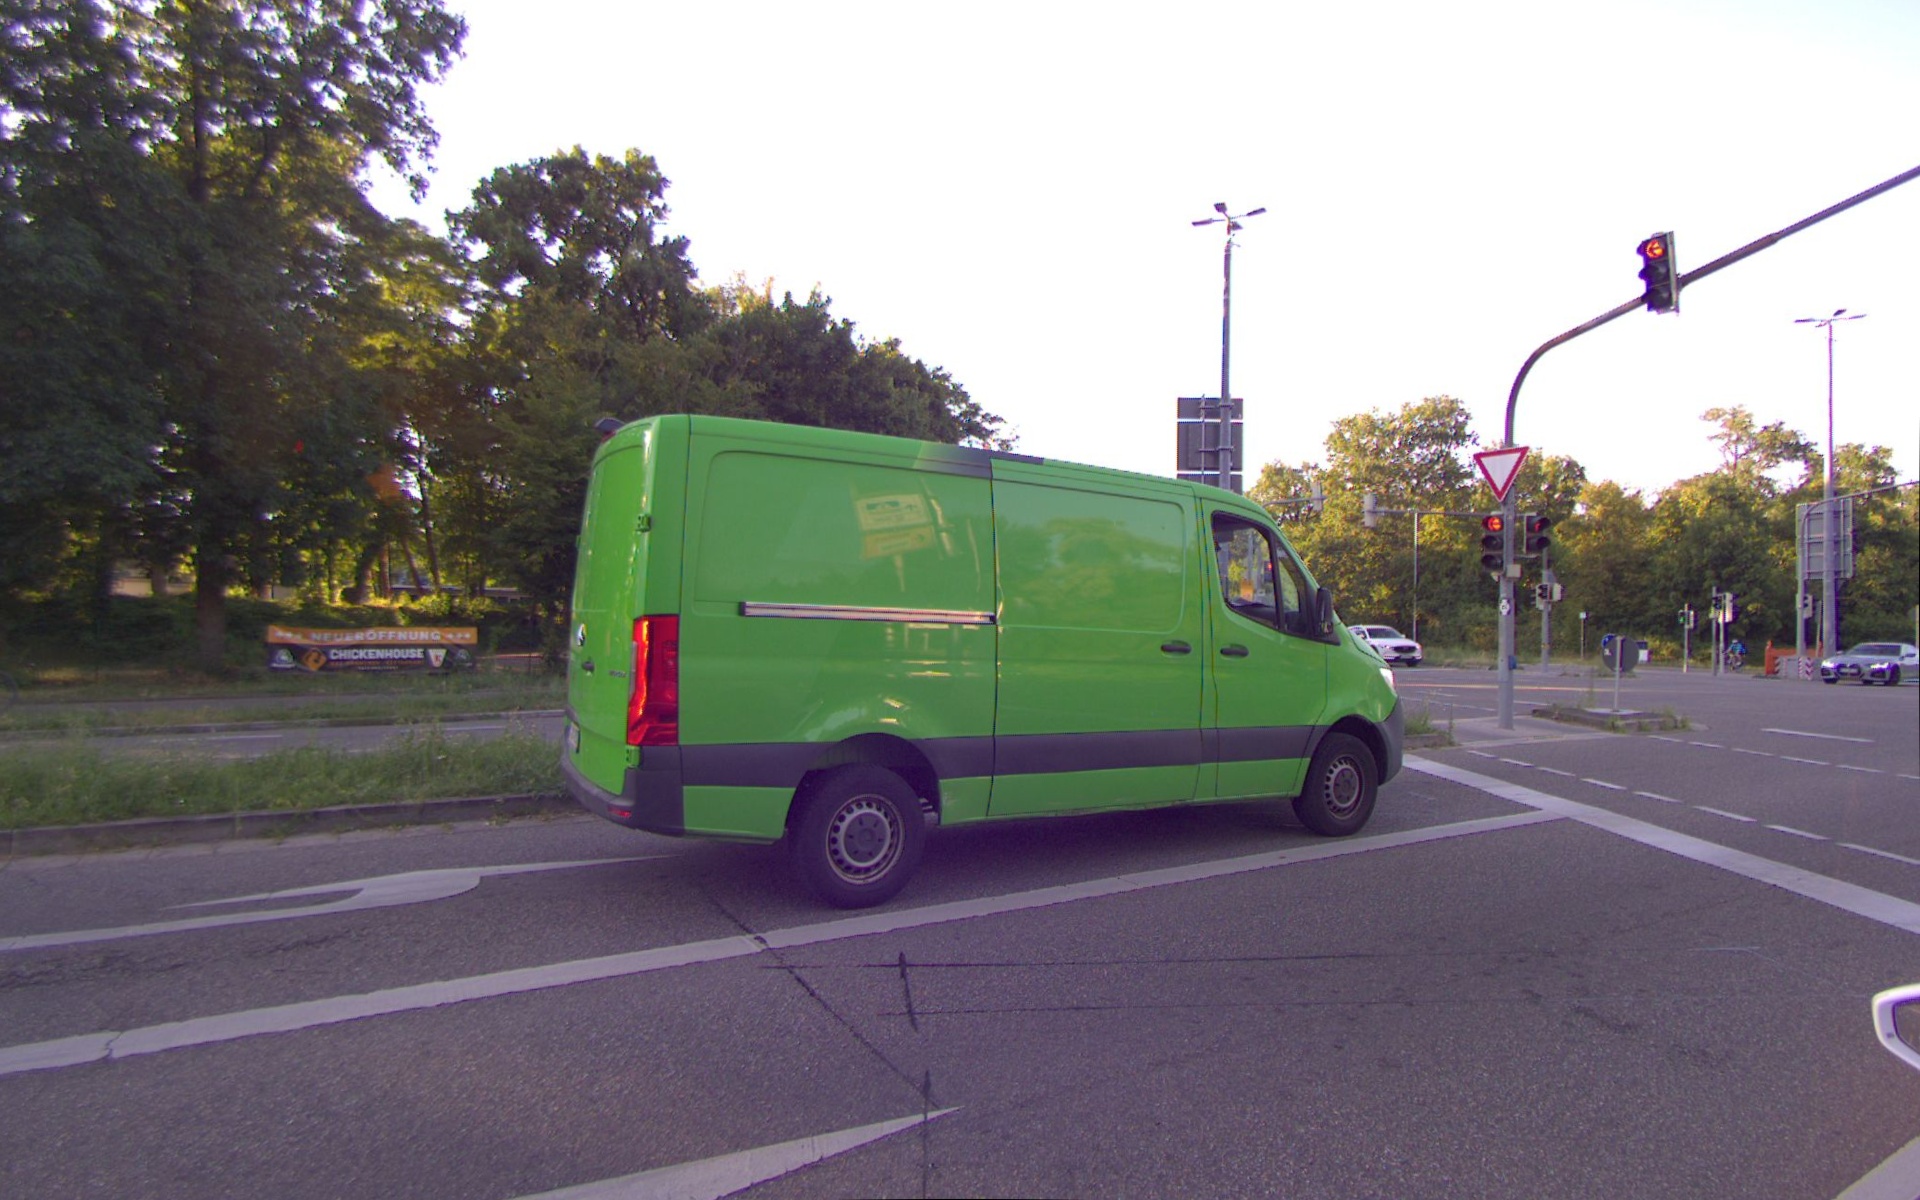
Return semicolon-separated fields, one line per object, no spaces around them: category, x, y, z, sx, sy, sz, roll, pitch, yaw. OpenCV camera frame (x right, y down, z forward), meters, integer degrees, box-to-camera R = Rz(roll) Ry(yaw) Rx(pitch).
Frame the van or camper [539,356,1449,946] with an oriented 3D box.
van or camper;0.538;0.290;6.564;5.830;2.453;1.983;2;-1;-32

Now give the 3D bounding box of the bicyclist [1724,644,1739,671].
bicyclist;40.310;3.000;52.486;0.509;1.406;0.407;0;-1;19

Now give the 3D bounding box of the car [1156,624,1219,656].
car;12.686;2.214;56.199;1.964;1.661;4.250;1;-1;-10

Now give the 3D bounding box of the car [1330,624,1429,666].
car;17.496;1.847;42.104;1.963;1.661;4.252;1;-1;-8

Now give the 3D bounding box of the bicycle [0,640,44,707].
bicycle;-14.300;1.036;14.145;2.027;0.946;0.488;2;-2;-39

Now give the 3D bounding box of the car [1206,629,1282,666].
car;13.499;2.225;48.046;1.963;1.661;4.252;1;-1;-8

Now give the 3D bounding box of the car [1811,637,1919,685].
car;30.376;1.989;33.194;4.442;1.460;1.885;2;-1;-27

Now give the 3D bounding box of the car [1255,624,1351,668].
car;13.809;1.812;40.697;1.963;1.661;4.252;1;-1;-8

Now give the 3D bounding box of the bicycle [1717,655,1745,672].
bicycle;40.287;3.319;52.489;1.084;0.836;0.413;0;-1;20
